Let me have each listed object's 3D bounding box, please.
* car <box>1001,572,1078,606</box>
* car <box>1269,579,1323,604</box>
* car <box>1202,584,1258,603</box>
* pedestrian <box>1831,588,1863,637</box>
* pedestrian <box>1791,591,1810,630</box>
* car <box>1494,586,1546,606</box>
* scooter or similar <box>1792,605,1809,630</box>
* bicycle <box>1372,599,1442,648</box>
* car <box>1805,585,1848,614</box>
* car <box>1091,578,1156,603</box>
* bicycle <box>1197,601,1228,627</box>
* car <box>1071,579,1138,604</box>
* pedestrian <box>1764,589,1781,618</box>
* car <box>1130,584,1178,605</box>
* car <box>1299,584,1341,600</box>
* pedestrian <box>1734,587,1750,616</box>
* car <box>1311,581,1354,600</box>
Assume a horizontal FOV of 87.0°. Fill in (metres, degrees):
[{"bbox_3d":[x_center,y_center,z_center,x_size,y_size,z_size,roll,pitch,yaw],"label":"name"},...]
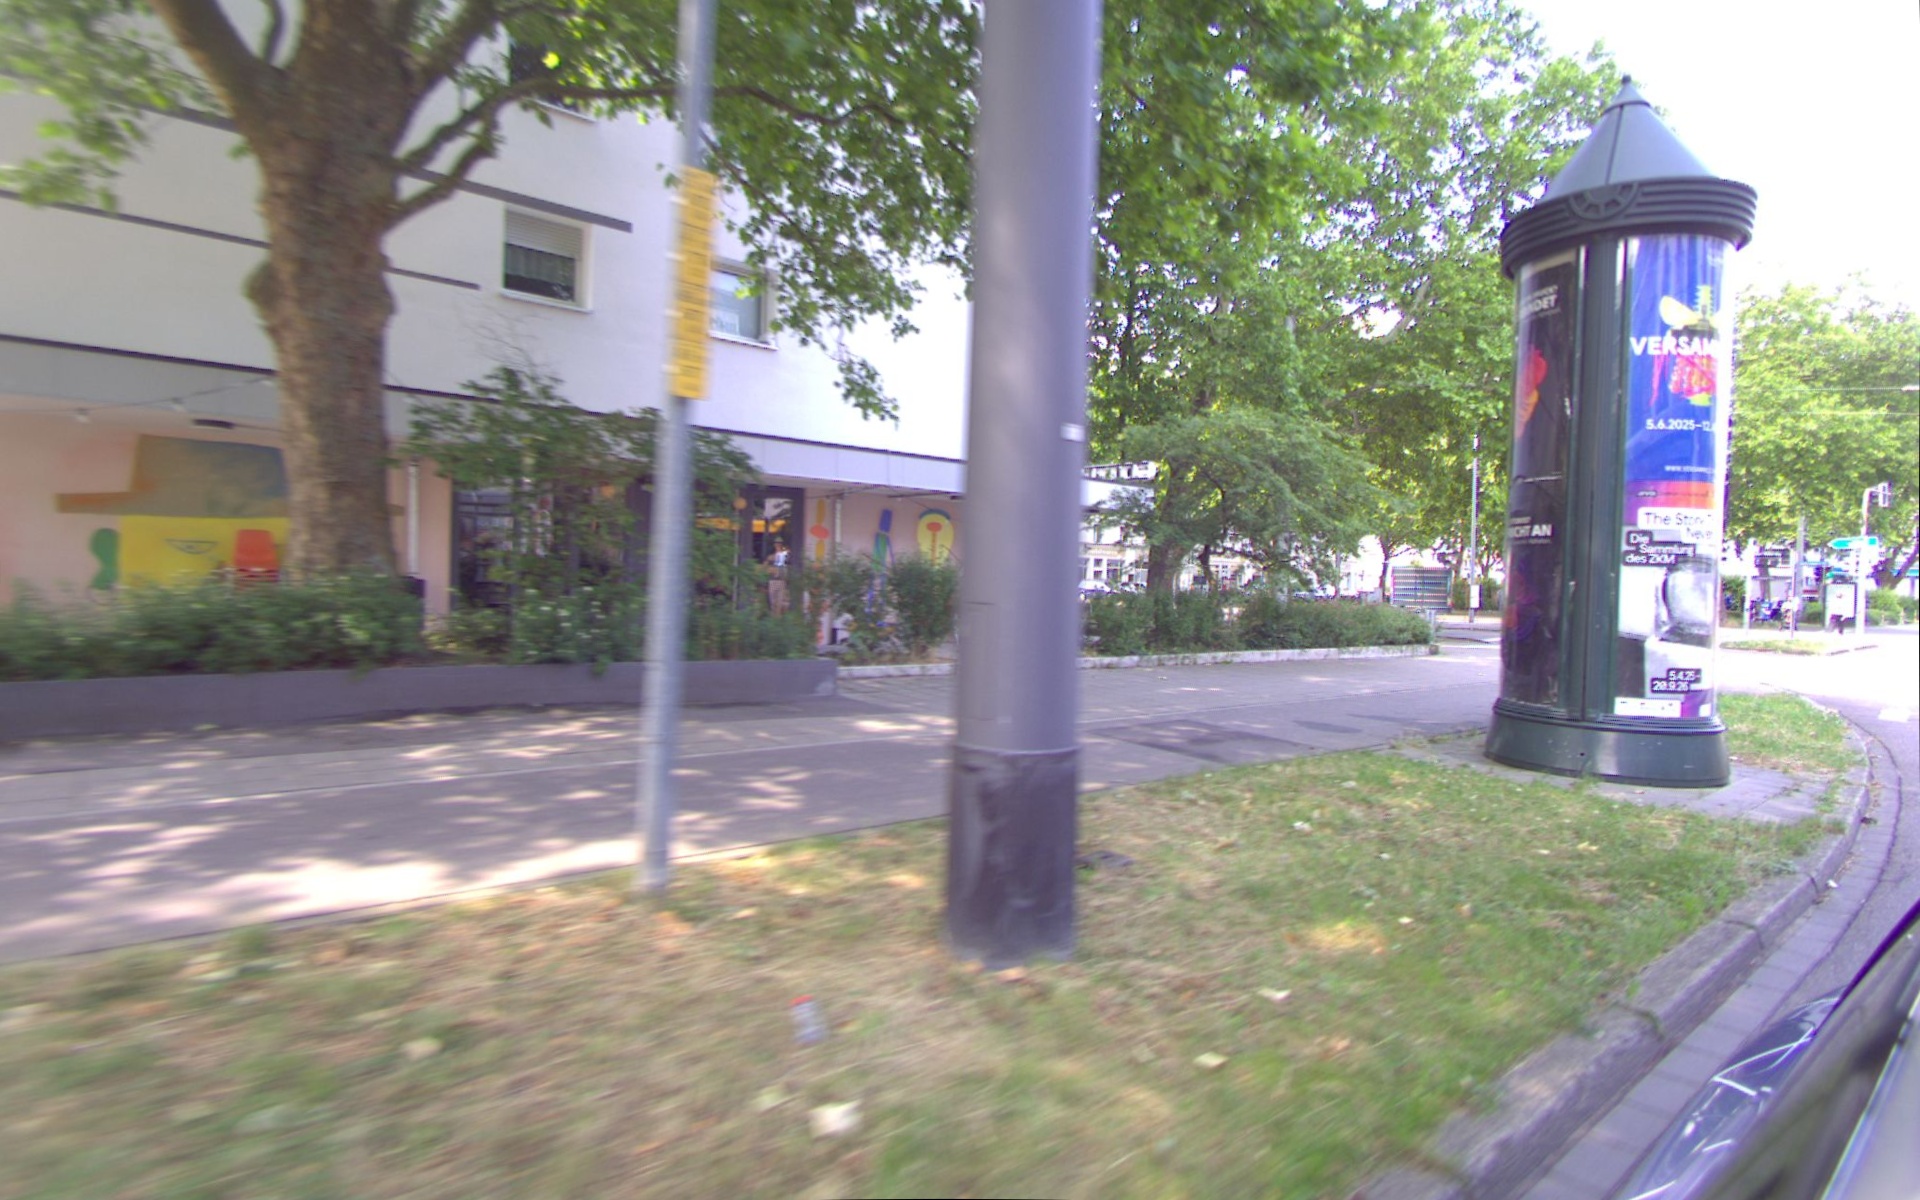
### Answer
[{"bbox_3d":[4.294,-0.618,54.938,3.715,1.681,1.850,2,1,28],"label":"car"},{"bbox_3d":[29.334,-0.774,88.443,1.965,2.039,3.994,0,1,-41],"label":"car"},{"bbox_3d":[21.802,-0.524,81.810,1.964,1.440,3.997,1,1,-39],"label":"car"},{"bbox_3d":[33.209,0.452,37.884,0.870,1.805,0.694,1,1,-38],"label":"pedestrian"},{"bbox_3d":[37.451,0.459,45.085,0.567,1.666,0.910,2,1,37],"label":"pedestrian"},{"bbox_3d":[54.245,-0.418,98.032,1.835,1.822,3.998,0,1,-37],"label":"car"},{"bbox_3d":[36.924,0.753,44.458,0.488,1.069,0.699,2,1,37],"label":"scooter or similar"},{"bbox_3d":[10.265,0.521,23.320,0.523,1.022,1.732,1,1,-13],"label":"bicycle"},{"bbox_3d":[75.917,-0.043,88.641,3.927,2.450,2.111,0,1,-39],"label":"car"},{"bbox_3d":[11.925,-0.672,73.941,1.878,1.711,4.532,0,1,-41],"label":"car"},{"bbox_3d":[8.157,0.450,32.780,0.291,0.806,1.215,1,1,-22],"label":"bicycle"},{"bbox_3d":[10.222,-0.601,71.896,1.999,1.620,4.532,0,1,-41],"label":"car"},{"bbox_3d":[50.334,0.226,62.694,0.600,1.772,0.692,2,1,27],"label":"pedestrian"},{"bbox_3d":[14.346,-0.421,74.801,3.226,1.406,1.447,2,1,44],"label":"car"},{"bbox_3d":[39.141,-0.848,109.954,1.712,1.657,3.998,0,1,-37],"label":"car"},{"bbox_3d":[49.388,0.093,63.920,0.600,1.772,0.692,2,1,27],"label":"pedestrian"},{"bbox_3d":[41.080,-1.079,111.723,1.963,1.988,3.998,0,1,-37],"label":"car"}]
